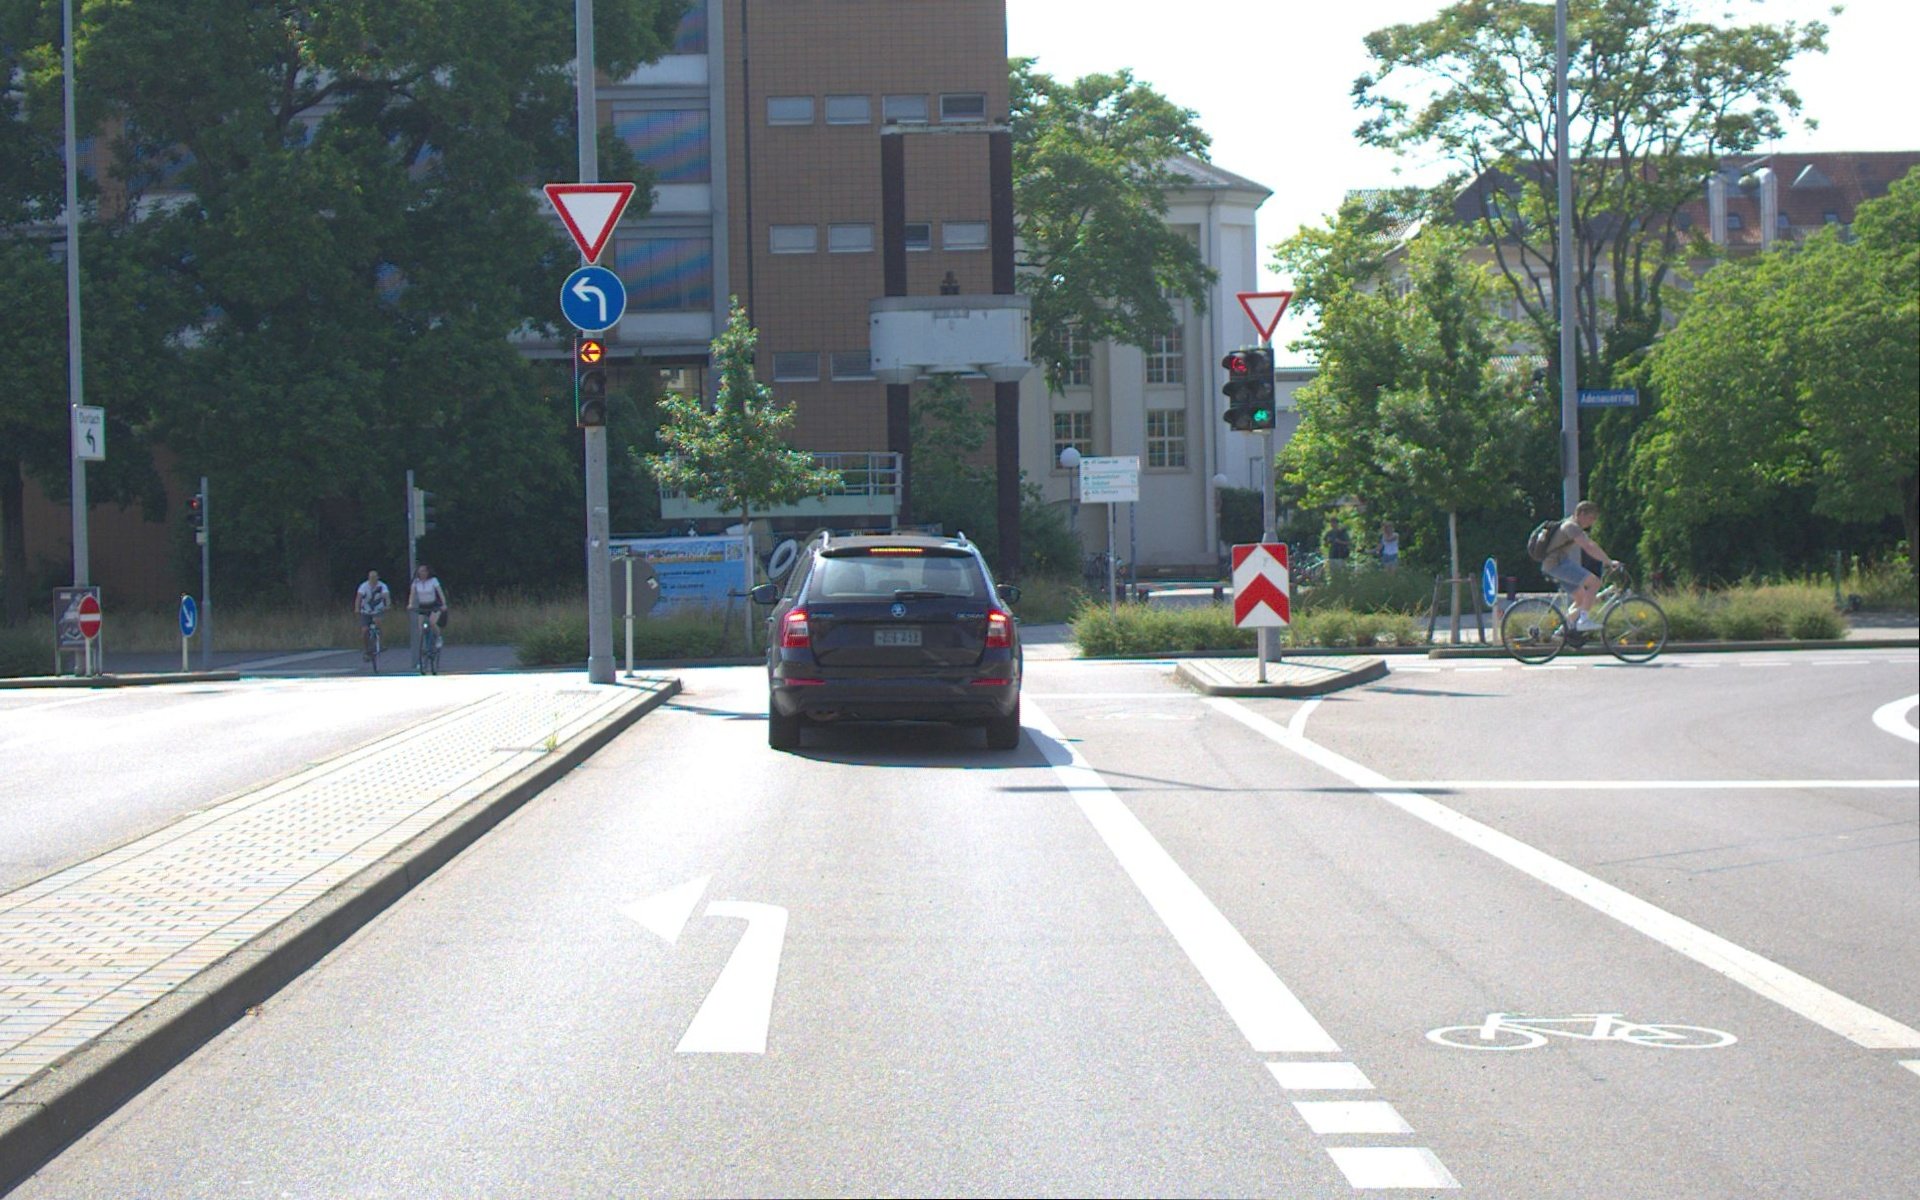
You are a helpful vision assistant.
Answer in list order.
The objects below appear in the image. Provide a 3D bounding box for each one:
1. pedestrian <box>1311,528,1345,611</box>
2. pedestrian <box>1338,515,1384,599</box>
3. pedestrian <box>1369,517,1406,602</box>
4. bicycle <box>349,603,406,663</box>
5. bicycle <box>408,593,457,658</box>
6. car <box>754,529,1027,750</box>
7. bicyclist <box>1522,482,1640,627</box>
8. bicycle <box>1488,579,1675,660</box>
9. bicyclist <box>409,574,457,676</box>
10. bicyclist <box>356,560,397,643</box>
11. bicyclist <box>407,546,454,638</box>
[{"bbox_3d":[8.403,-0.696,78.466,0.597,1.868,0.638,1,0,22],"label":"pedestrian"},{"bbox_3d":[9.123,-0.974,78.205,0.795,1.868,0.638,-2,1,22],"label":"pedestrian"},{"bbox_3d":[9.594,-0.919,77.121,0.637,1.868,0.796,-3,1,-1],"label":"pedestrian"},{"bbox_3d":[-10.147,0.559,59.935,0.704,0.974,2.031,-2,1,-3],"label":"bicycle"},{"bbox_3d":[-8.494,0.398,55.407,0.618,0.957,1.968,-4,1,-6],"label":"bicycle"},{"bbox_3d":[-0.477,0.228,24.475,1.779,1.438,3.818,0,1,-1],"label":"car"},{"bbox_3d":[6.460,-0.473,35.765,1.166,1.469,0.564,-1,1,12],"label":"bicyclist"},{"bbox_3d":[6.469,0.201,35.782,1.891,0.790,0.560,-1,2,12],"label":"bicycle"},{"bbox_3d":[-8.494,0.398,55.407,0.618,1.576,1.014,-4,1,-6],"label":"bicyclist"},{"bbox_3d":[-10.163,0.018,59.902,0.539,1.412,1.030,-2,0,-3],"label":"bicyclist"},{"bbox_3d":[-8.527,-0.132,55.397,0.618,1.438,0.921,-4,1,-6],"label":"bicyclist"}]
